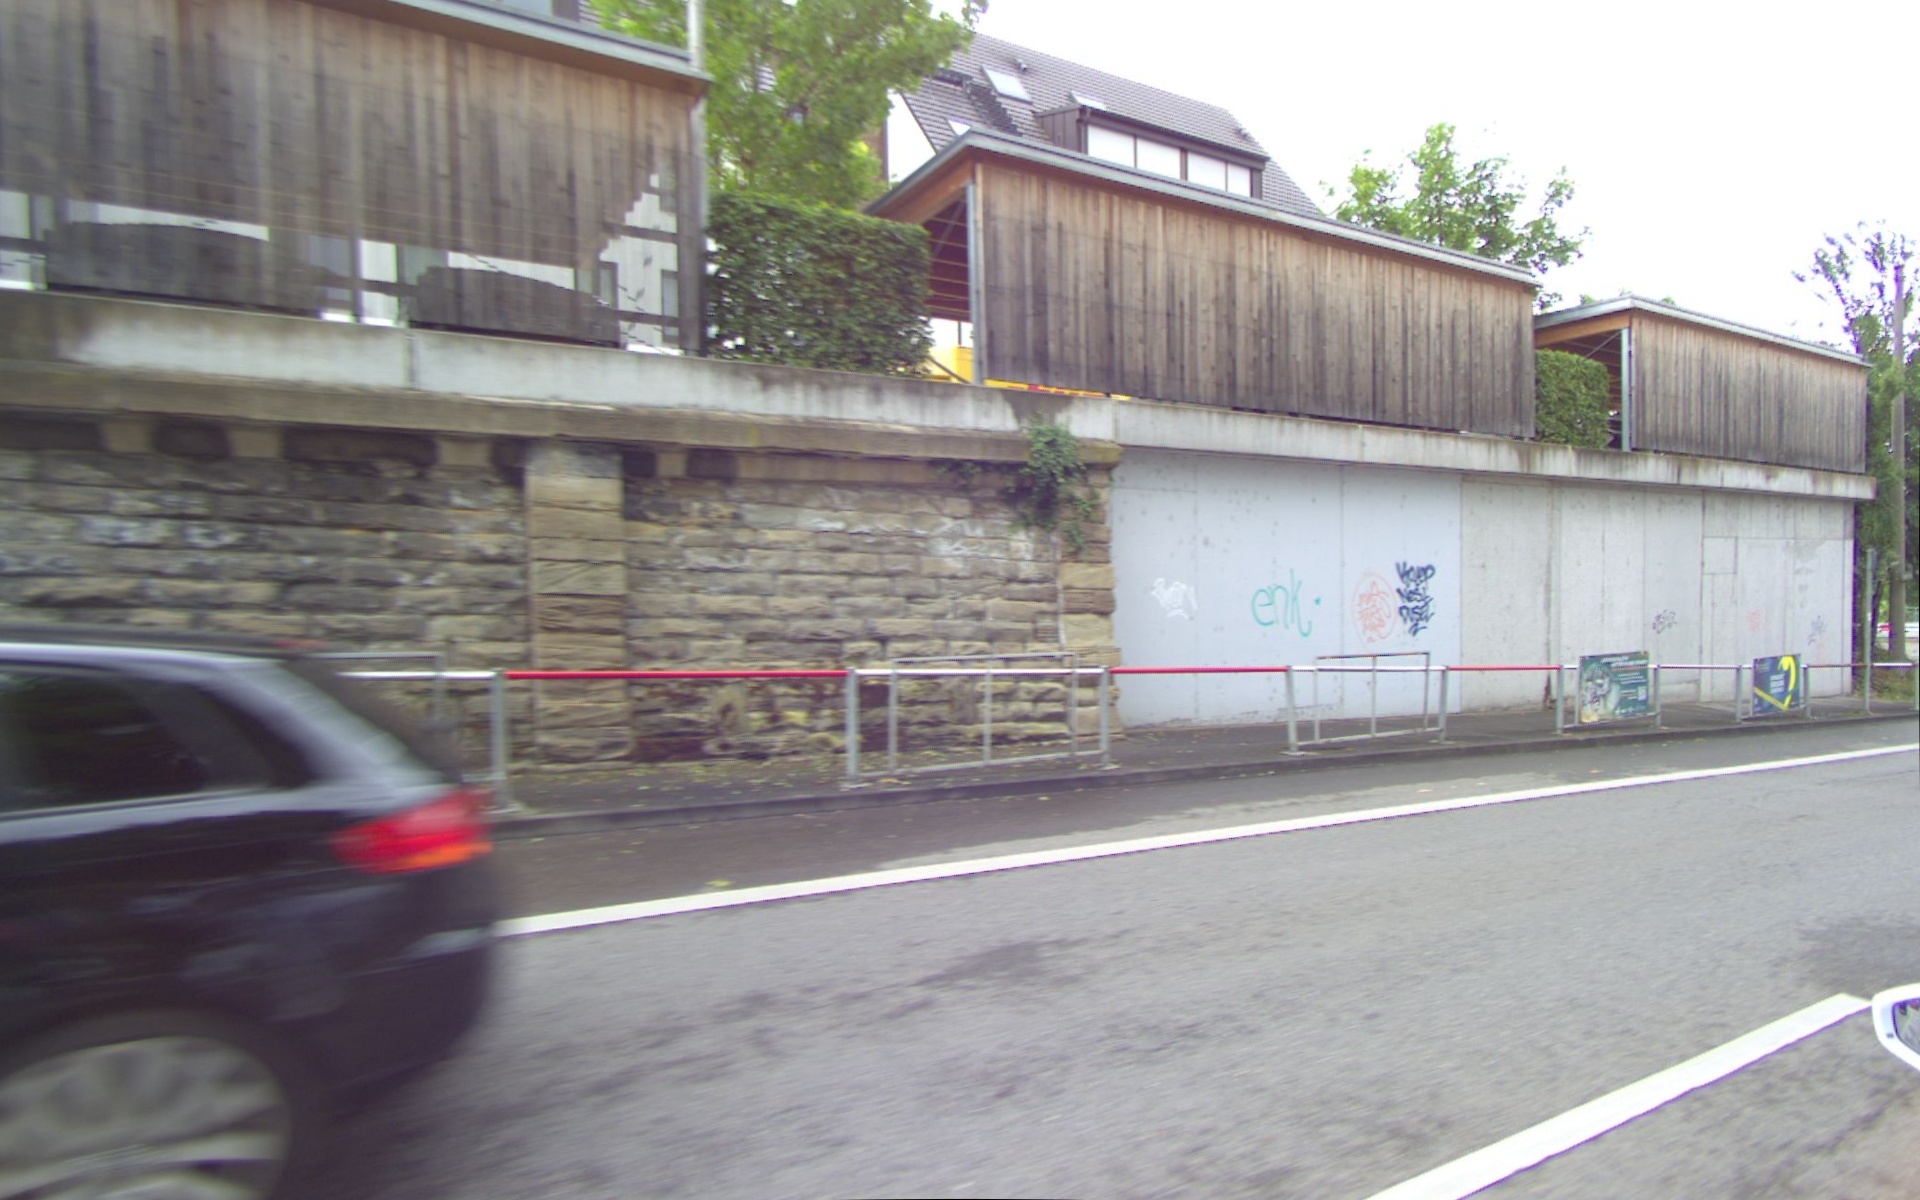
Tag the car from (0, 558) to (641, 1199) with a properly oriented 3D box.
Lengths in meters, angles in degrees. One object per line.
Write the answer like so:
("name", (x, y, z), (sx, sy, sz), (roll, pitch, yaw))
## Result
("car", (-2.941, 0.676, 2.256), (3.953, 1.553, 1.726), (2, -1, -30))
